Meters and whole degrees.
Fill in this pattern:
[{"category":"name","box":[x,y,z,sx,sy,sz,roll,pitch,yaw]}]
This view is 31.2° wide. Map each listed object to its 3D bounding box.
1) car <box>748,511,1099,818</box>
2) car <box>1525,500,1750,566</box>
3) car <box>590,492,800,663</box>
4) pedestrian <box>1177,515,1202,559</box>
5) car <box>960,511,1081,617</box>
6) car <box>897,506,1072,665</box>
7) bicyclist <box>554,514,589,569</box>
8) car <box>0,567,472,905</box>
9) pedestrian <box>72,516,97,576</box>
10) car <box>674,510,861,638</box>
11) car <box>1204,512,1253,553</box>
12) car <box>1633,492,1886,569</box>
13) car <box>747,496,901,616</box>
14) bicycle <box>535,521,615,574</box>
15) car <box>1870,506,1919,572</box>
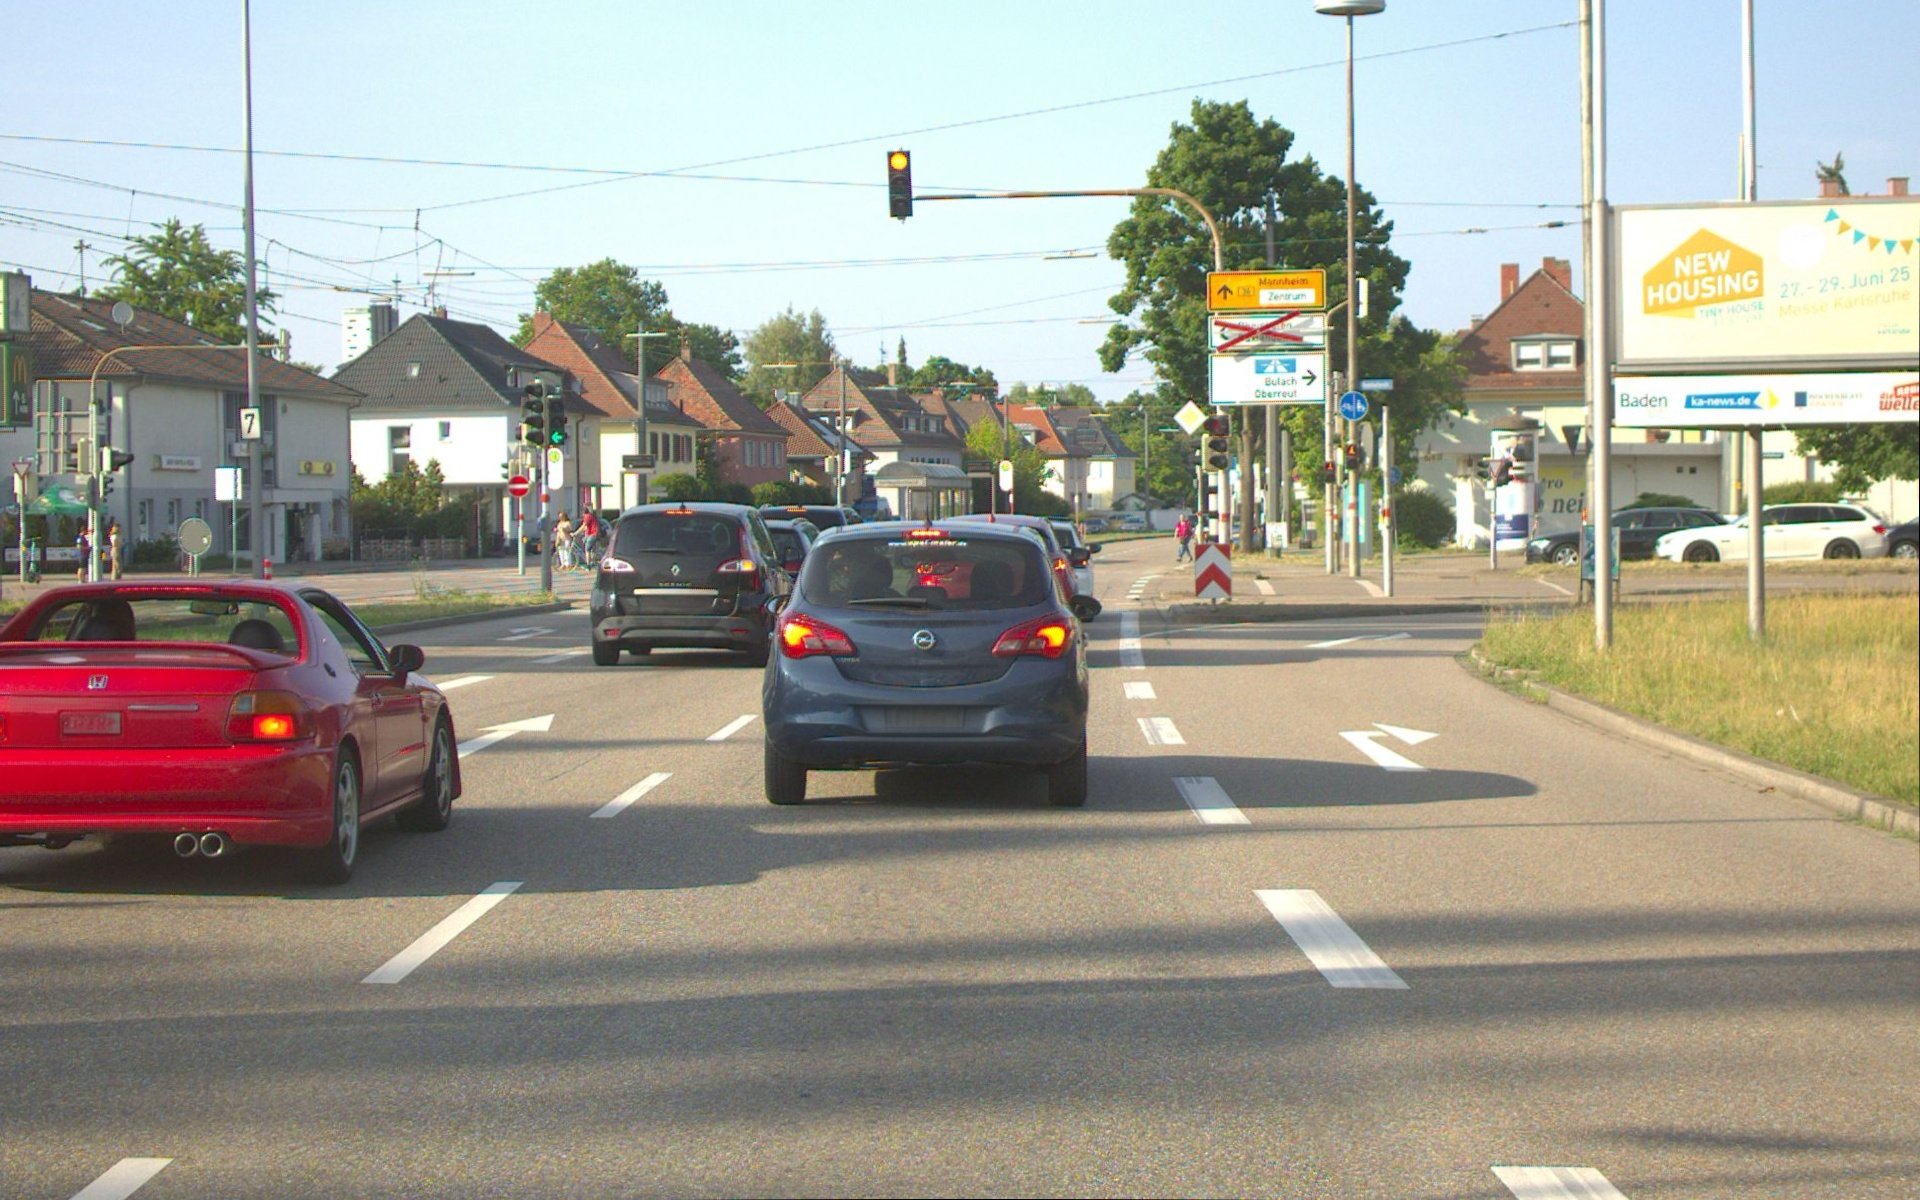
[{"category":"car","box":[-0.249,0.267,19.271,1.741,1.500,4.223,0,2,-2]},{"category":"car","box":[15.264,-1.512,77.597,4.824,1.406,1.715,-1,1,5]},{"category":"car","box":[-2.668,-0.272,35.414,1.763,1.665,4.084,0,2,1]},{"category":"pedestrian","box":[7.868,-2.167,117.857,0.753,1.494,0.827,1,1,8]},{"category":"car","box":[0.901,-0.543,49.408,1.656,1.438,4.014,-1,1,2]},{"category":"car","box":[0.296,-0.195,35.961,1.706,1.546,3.978,-1,1,2]},{"category":"bicyclist","box":[-10.306,-1.547,91.264,0.884,1.426,1.137,1,1,-5]},{"category":"car","box":[-3.279,0.495,14.894,1.731,1.202,3.847,0,2,1]},{"category":"pedestrian","box":[-23.537,-1.459,92.385,0.512,1.593,0.540,0,1,1]},{"category":"car","box":[-2.332,-0.366,42.682,1.700,1.503,4.553,0,2,5]},{"category":"car","box":[9.602,-2.394,122.825,1.675,1.393,3.999,1,1,5]},{"category":"car","box":[17.152,-1.496,73.922,5.095,1.557,1.840,-1,1,5]},{"category":"car","box":[-1.938,-0.680,50.373,1.507,1.645,4.743,-1,1,7]},{"category":"bicycle","box":[-10.209,-1.391,91.258,2.073,1.343,1.109,1,1,-5]},{"category":"car","box":[22.595,-1.397,77.078,3.987,1.448,1.715,-1,1,5]}]
